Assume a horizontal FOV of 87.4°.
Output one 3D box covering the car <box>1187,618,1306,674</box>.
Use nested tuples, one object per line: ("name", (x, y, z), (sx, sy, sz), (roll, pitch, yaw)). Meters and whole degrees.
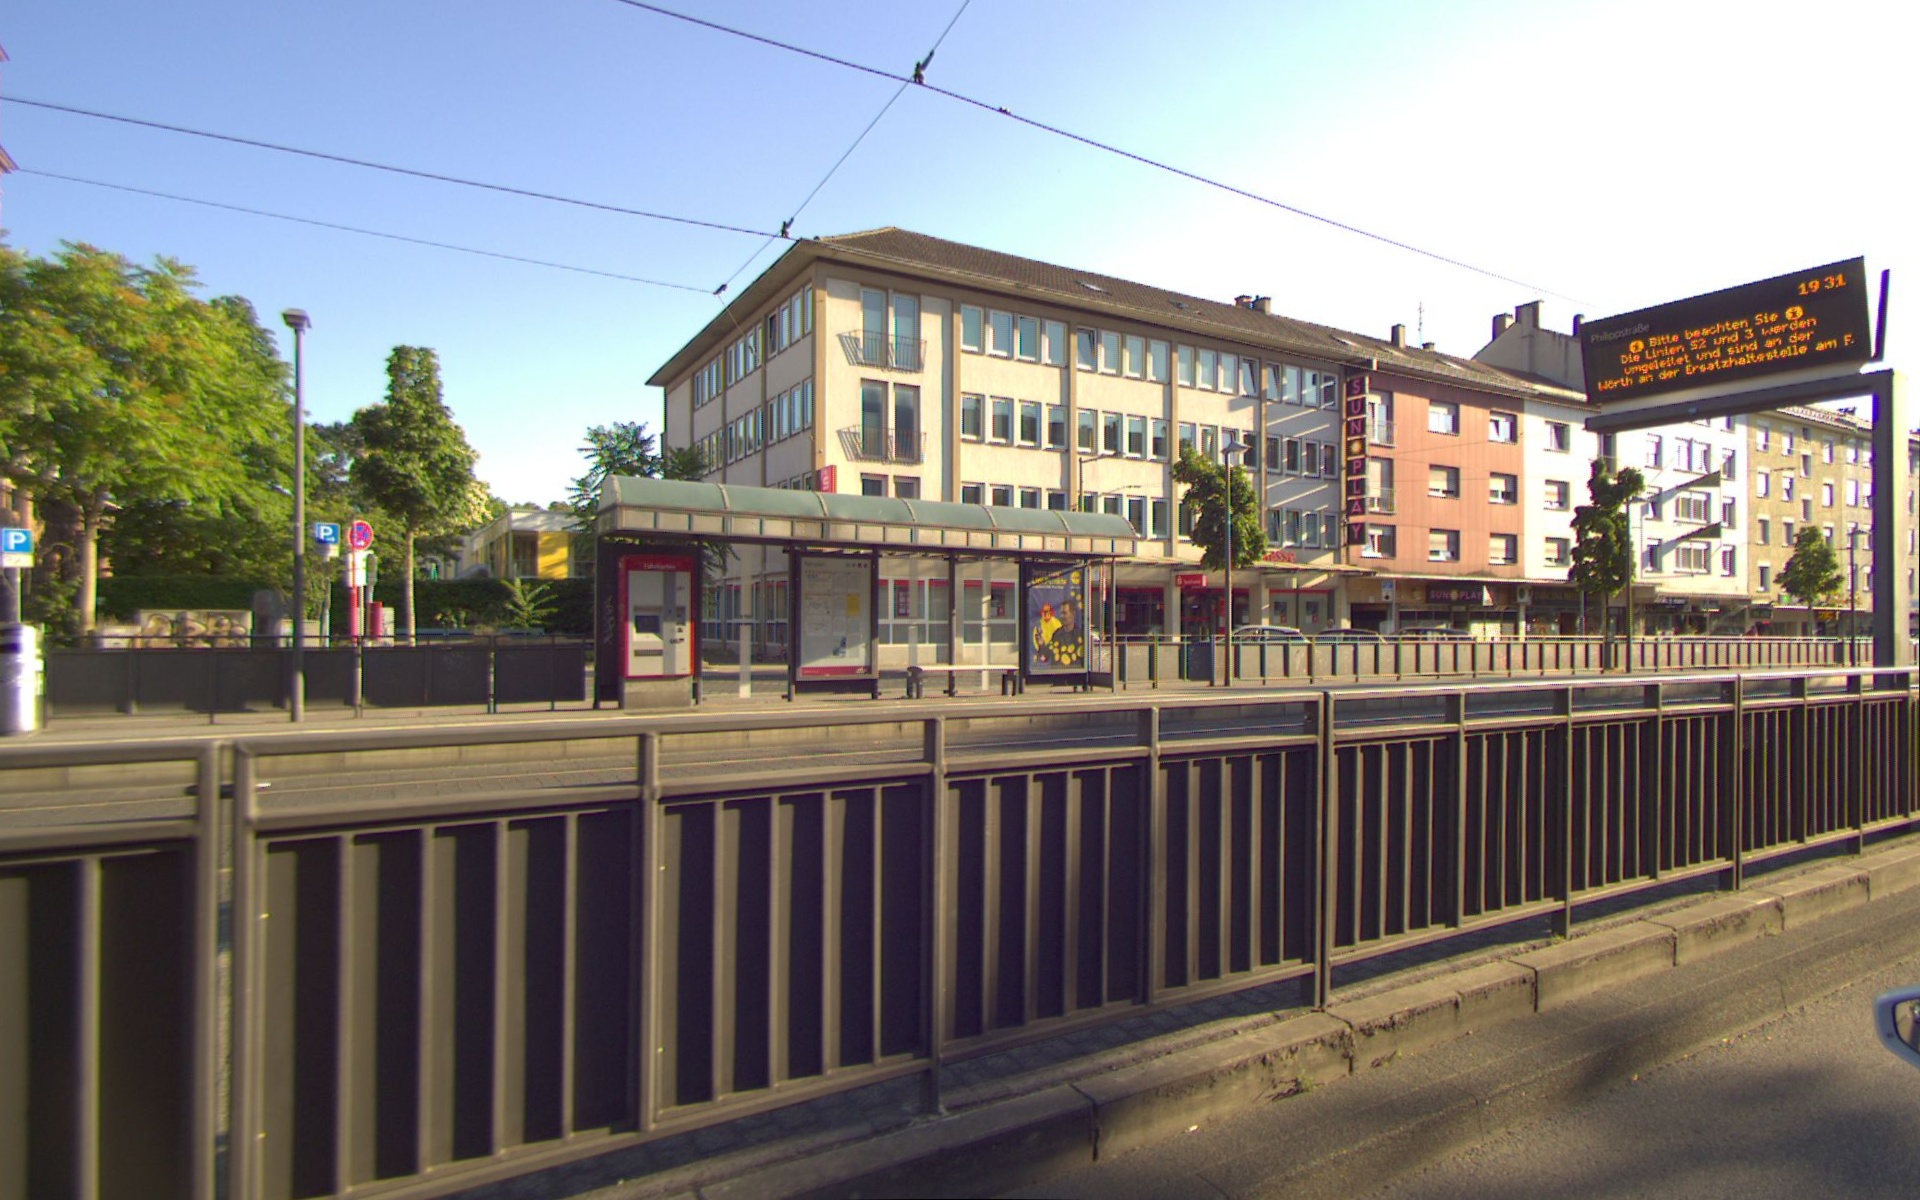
("car", (8.873, 1.407, 31.361), (3.439, 1.702, 1.772), (0, -1, 11))

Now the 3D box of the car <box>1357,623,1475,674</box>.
("car", (15.748, 1.642, 34.864), (3.440, 1.702, 1.772), (0, -1, 15))

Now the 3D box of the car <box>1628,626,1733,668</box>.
("car", (32.869, 2.129, 45.916), (3.440, 1.702, 1.772), (-3, -1, 15))
